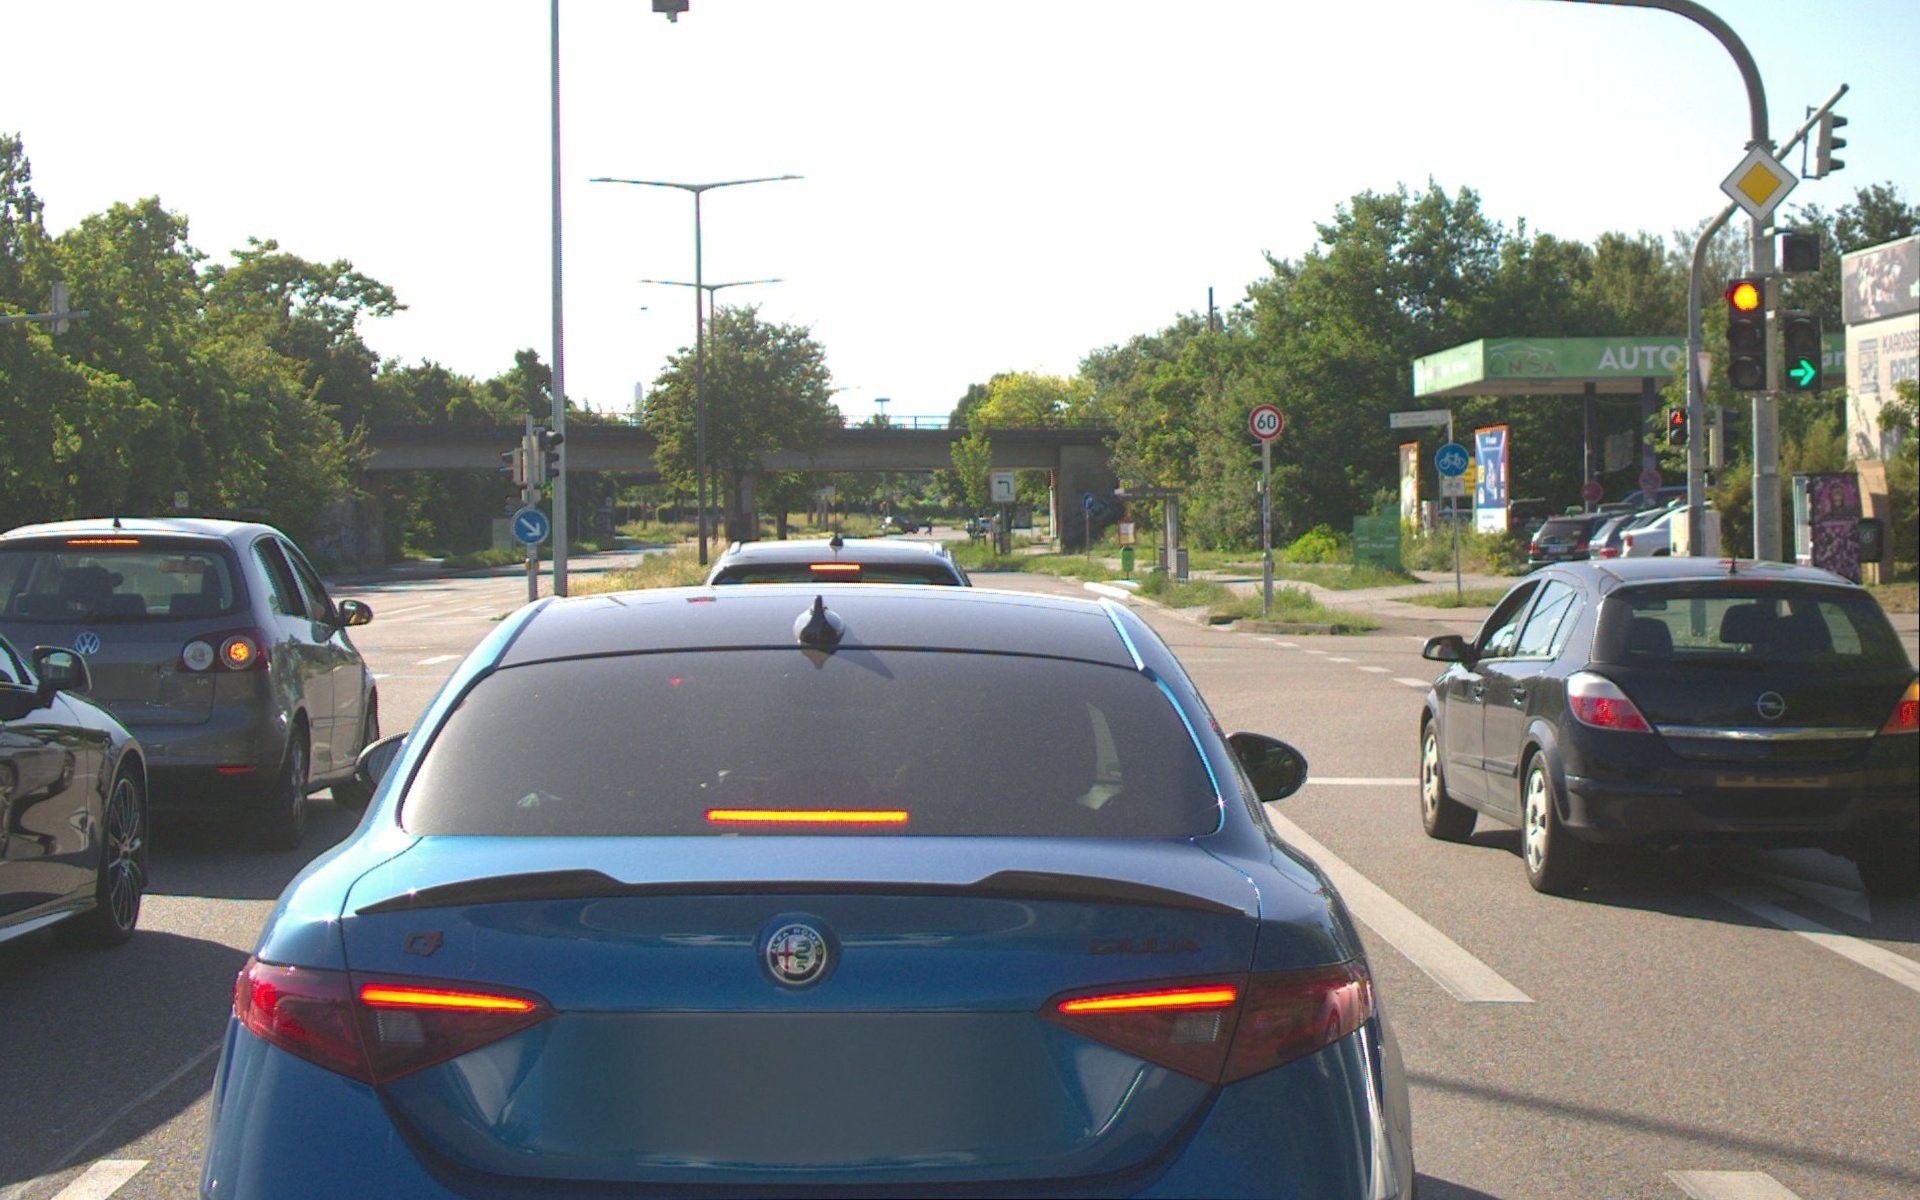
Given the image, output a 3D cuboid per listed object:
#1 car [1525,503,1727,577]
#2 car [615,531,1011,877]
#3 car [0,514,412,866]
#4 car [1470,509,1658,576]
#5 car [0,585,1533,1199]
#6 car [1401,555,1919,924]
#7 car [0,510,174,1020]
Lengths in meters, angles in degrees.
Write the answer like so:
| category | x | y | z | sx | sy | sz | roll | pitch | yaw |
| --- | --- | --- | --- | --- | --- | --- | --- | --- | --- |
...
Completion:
| category | x | y | z | sx | sy | sz | roll | pitch | yaw |
| --- | --- | --- | --- | --- | --- | --- | --- | --- | --- |
| car | 14.442 | -1.296 | 74.680 | 3.987 | 1.547 | 2.000 | 1 | 0 | 1 |
| car | -0.619 | 0.438 | 16.929 | 1.704 | 1.492 | 3.719 | 1 | 0 | 1 |
| car | -3.966 | 0.376 | 17.408 | 1.812 | 1.546 | 4.354 | 1 | 1 | -2 |
| car | 14.607 | -1.384 | 83.221 | 3.986 | 1.547 | 2.001 | 1 | 0 | -18 |
| car | -0.225 | 0.704 | 6.108 | 1.910 | 1.418 | 3.719 | 1 | 1 | 1 |
| car | 3.224 | 0.530 | 15.881 | 1.734 | 1.437 | 4.372 | 1 | 1 | -1 |
| car | -3.814 | 0.489 | 10.631 | 1.812 | 1.546 | 4.544 | 0 | 1 | -1 |
